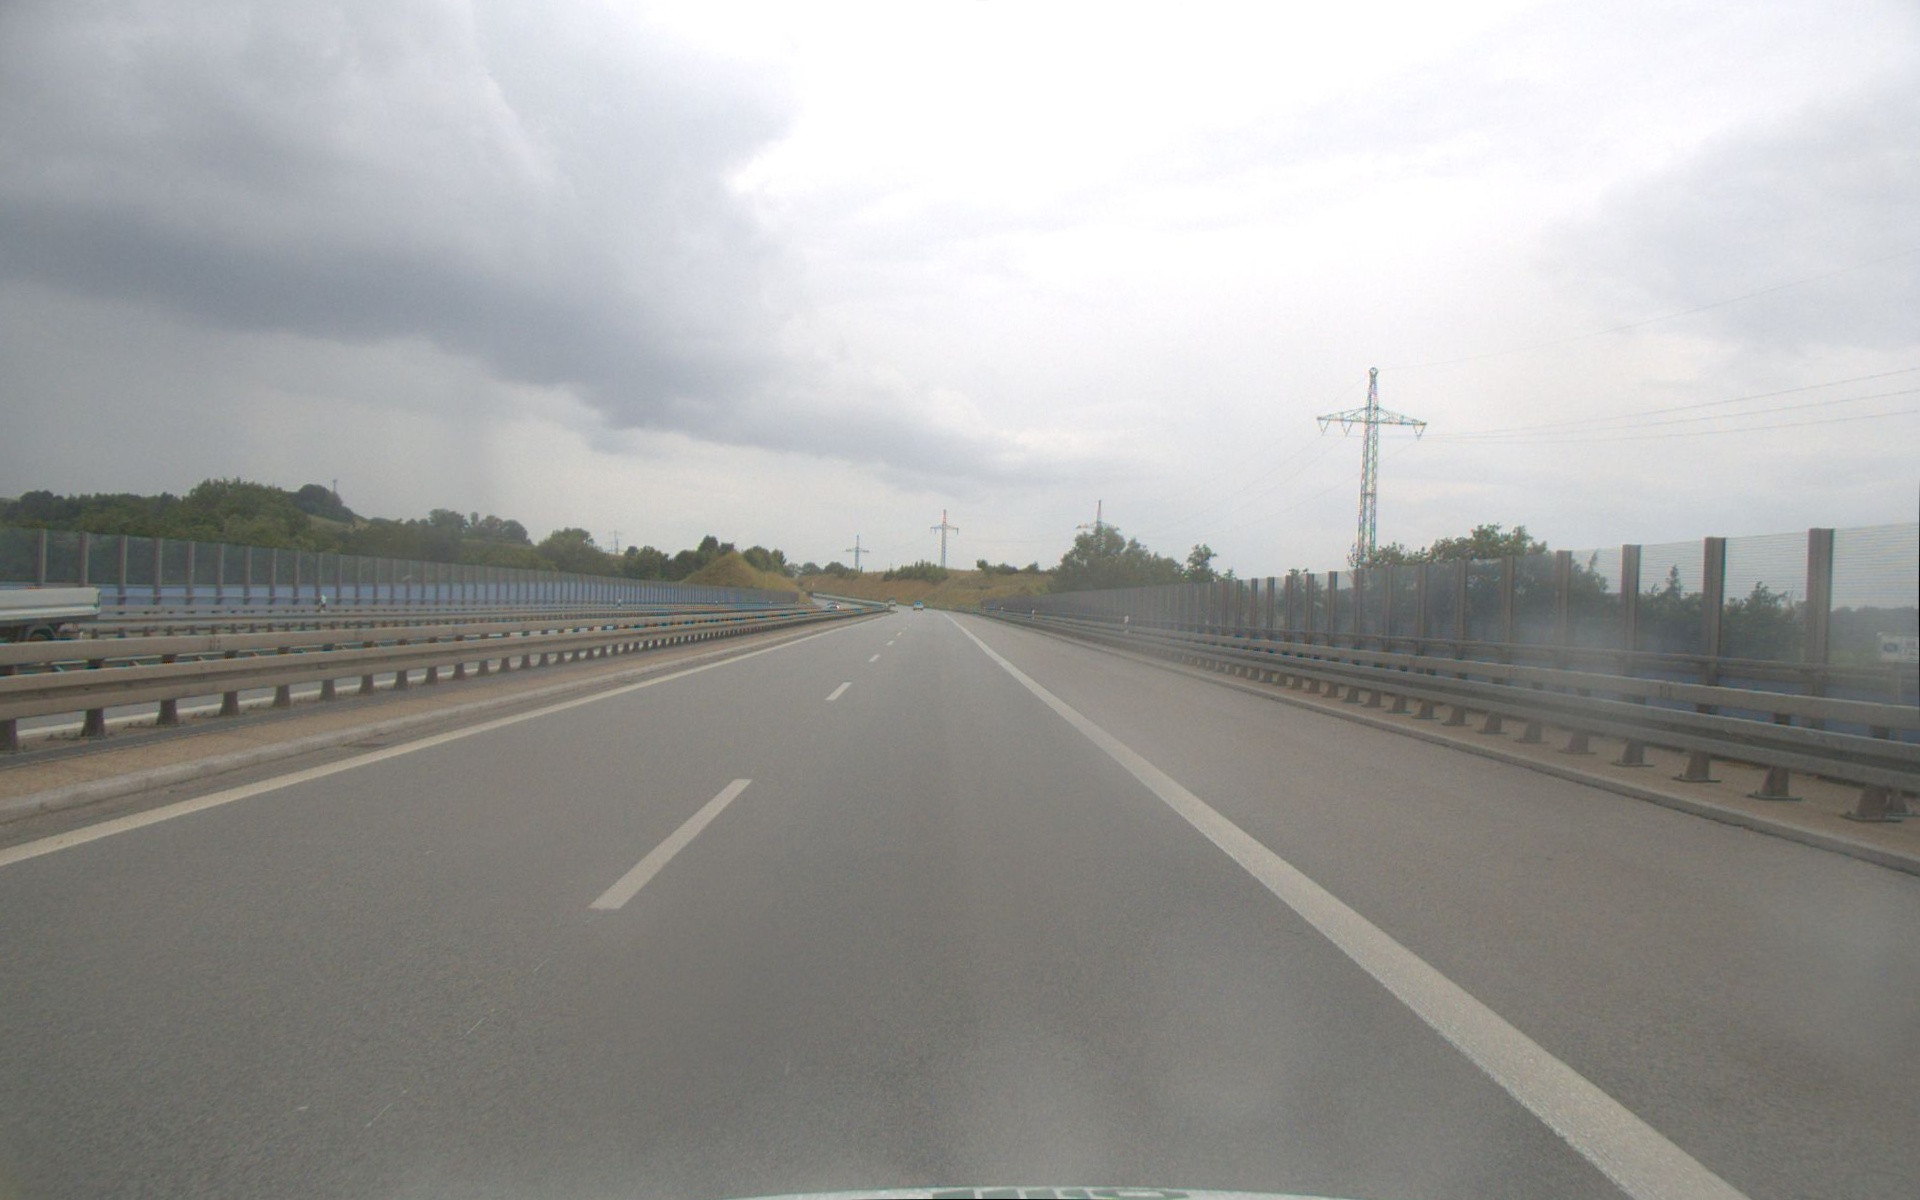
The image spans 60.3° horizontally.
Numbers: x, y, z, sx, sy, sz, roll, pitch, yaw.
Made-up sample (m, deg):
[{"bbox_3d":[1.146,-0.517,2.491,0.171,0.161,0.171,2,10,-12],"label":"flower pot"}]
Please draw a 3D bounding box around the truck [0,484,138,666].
[{"bbox_3d":[-14.231,-0.365,22.675,2.226,2.474,7.450,1,0,-1],"label":"truck"}]

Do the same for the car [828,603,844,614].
[{"bbox_3d":[-18.083,1.206,241.449,1.953,1.541,4.286,1,0,-1],"label":"car"}]
